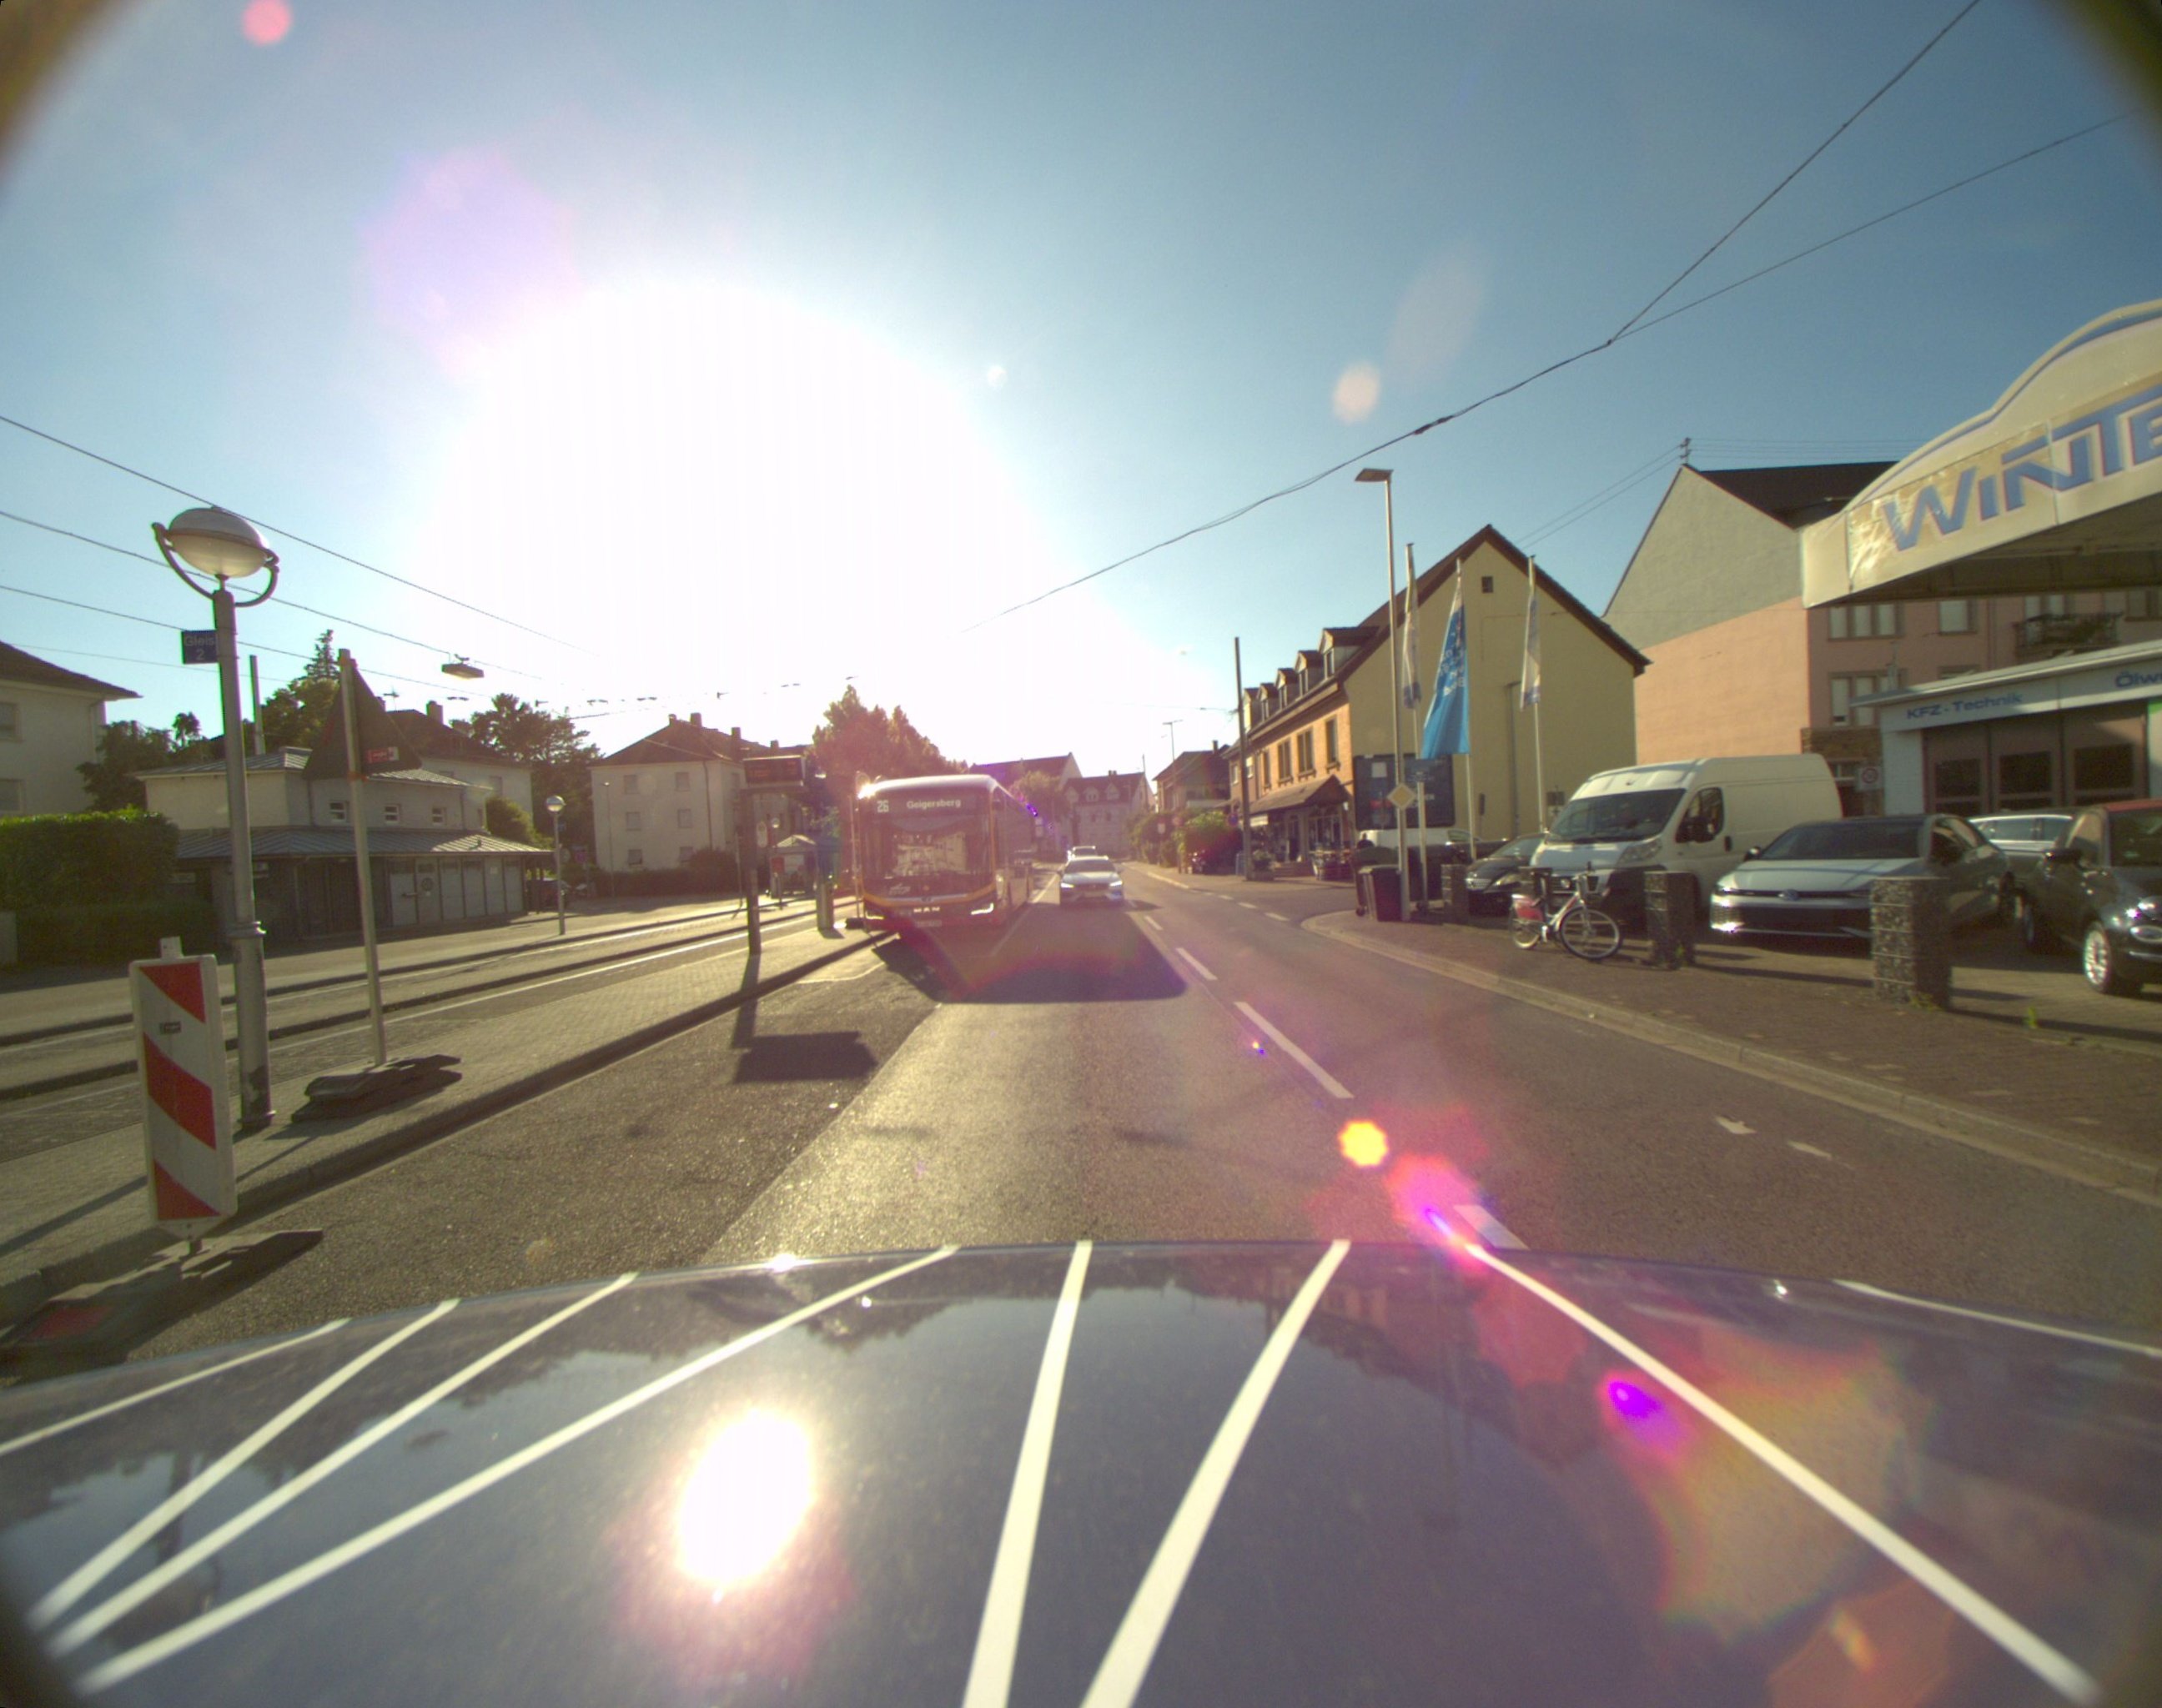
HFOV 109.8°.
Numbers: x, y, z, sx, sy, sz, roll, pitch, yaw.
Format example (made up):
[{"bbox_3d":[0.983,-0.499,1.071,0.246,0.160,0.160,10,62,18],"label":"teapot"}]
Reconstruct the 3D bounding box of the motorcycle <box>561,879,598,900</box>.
[{"bbox_3d":[-30.953,2.166,46.896,1.826,1.155,0.558,-3,1,-3],"label":"motorcycle"}]

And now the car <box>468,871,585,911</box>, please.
[{"bbox_3d":[-27.883,1.849,38.320,4.448,1.759,2.000,-2,1,4],"label":"car"}]

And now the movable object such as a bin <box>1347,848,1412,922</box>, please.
[{"bbox_3d":[6.379,0.653,16.201,1.055,1.473,1.315,-4,-2,28],"label":"movable object such as a bin"}]

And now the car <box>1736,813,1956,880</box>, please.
[{"bbox_3d":[20.970,-0.244,20.984,3.997,1.517,1.998,-3,5,0],"label":"car"}]

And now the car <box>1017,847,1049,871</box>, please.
[{"bbox_3d":[-3.468,0.375,56.037,1.998,1.664,4.000,-2,0,1],"label":"car"}]

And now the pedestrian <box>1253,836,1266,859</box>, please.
[{"bbox_3d":[9.796,-0.348,41.712,0.524,1.251,0.465,-3,1,1],"label":"pedestrian"}]

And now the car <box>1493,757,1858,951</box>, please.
[{"bbox_3d":[9.184,-0.107,11.741,5.076,2.455,2.105,-4,1,-22],"label":"car"}]

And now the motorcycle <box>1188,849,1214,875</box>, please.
[{"bbox_3d":[6.324,0.389,40.198,0.841,1.275,2.231,-4,1,-3],"label":"motorcycle"}]

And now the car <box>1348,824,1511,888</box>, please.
[{"bbox_3d":[11.876,0.057,26.105,4.627,1.922,1.999,-3,1,-2],"label":"car"}]

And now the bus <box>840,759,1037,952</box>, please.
[{"bbox_3d":[-2.940,-0.005,19.838,2.695,3.396,12.017,-3,0,0],"label":"bus"}]

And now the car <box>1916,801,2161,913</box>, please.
[{"bbox_3d":[16.360,0.003,11.861,1.772,1.559,4.315,-4,0,-1],"label":"car"}]

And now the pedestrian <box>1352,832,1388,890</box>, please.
[{"bbox_3d":[9.494,0.233,24.986,0.819,1.857,0.795,-3,1,4],"label":"pedestrian"}]

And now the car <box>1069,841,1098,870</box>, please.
[{"bbox_3d":[0.120,0.085,56.644,1.871,1.922,4.791,-4,0,-2],"label":"car"}]

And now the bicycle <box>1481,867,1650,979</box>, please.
[{"bbox_3d":[5.886,0.777,9.363,0.725,1.171,1.779,-3,1,-9],"label":"bicycle"}]

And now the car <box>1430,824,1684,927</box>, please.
[{"bbox_3d":[9.035,0.361,14.516,4.001,1.559,1.771,-4,0,-14],"label":"car"}]

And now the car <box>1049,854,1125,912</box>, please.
[{"bbox_3d":[0.291,0.806,22.940,1.998,1.454,4.450,-3,0,4],"label":"car"}]

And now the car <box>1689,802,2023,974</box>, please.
[{"bbox_3d":[9.364,0.295,9.132,4.005,1.559,1.769,-4,0,-29],"label":"car"}]

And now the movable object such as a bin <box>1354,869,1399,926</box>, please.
[{"bbox_3d":[5.885,0.857,15.162,0.661,1.056,0.585,-5,-1,12],"label":"movable object such as a bin"}]

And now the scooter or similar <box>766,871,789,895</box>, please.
[{"bbox_3d":[-16.101,1.523,40.300,0.467,1.201,1.210,-2,1,11],"label":"scooter or similar"}]

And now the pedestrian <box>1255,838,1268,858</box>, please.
[{"bbox_3d":[9.610,-0.305,40.477,0.525,1.041,0.383,-3,1,-16],"label":"pedestrian"}]

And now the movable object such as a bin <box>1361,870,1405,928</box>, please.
[{"bbox_3d":[5.761,0.862,14.533,0.641,1.063,0.581,-3,-2,12],"label":"movable object such as a bin"}]

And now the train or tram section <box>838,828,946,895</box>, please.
[{"bbox_3d":[-11.659,0.183,49.190,2.965,3.514,15.964,-2,2,0],"label":"train or tram section"}]

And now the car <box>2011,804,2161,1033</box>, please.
[{"bbox_3d":[9.111,0.377,6.112,1.617,1.559,3.400,-2,1,43],"label":"car"}]
